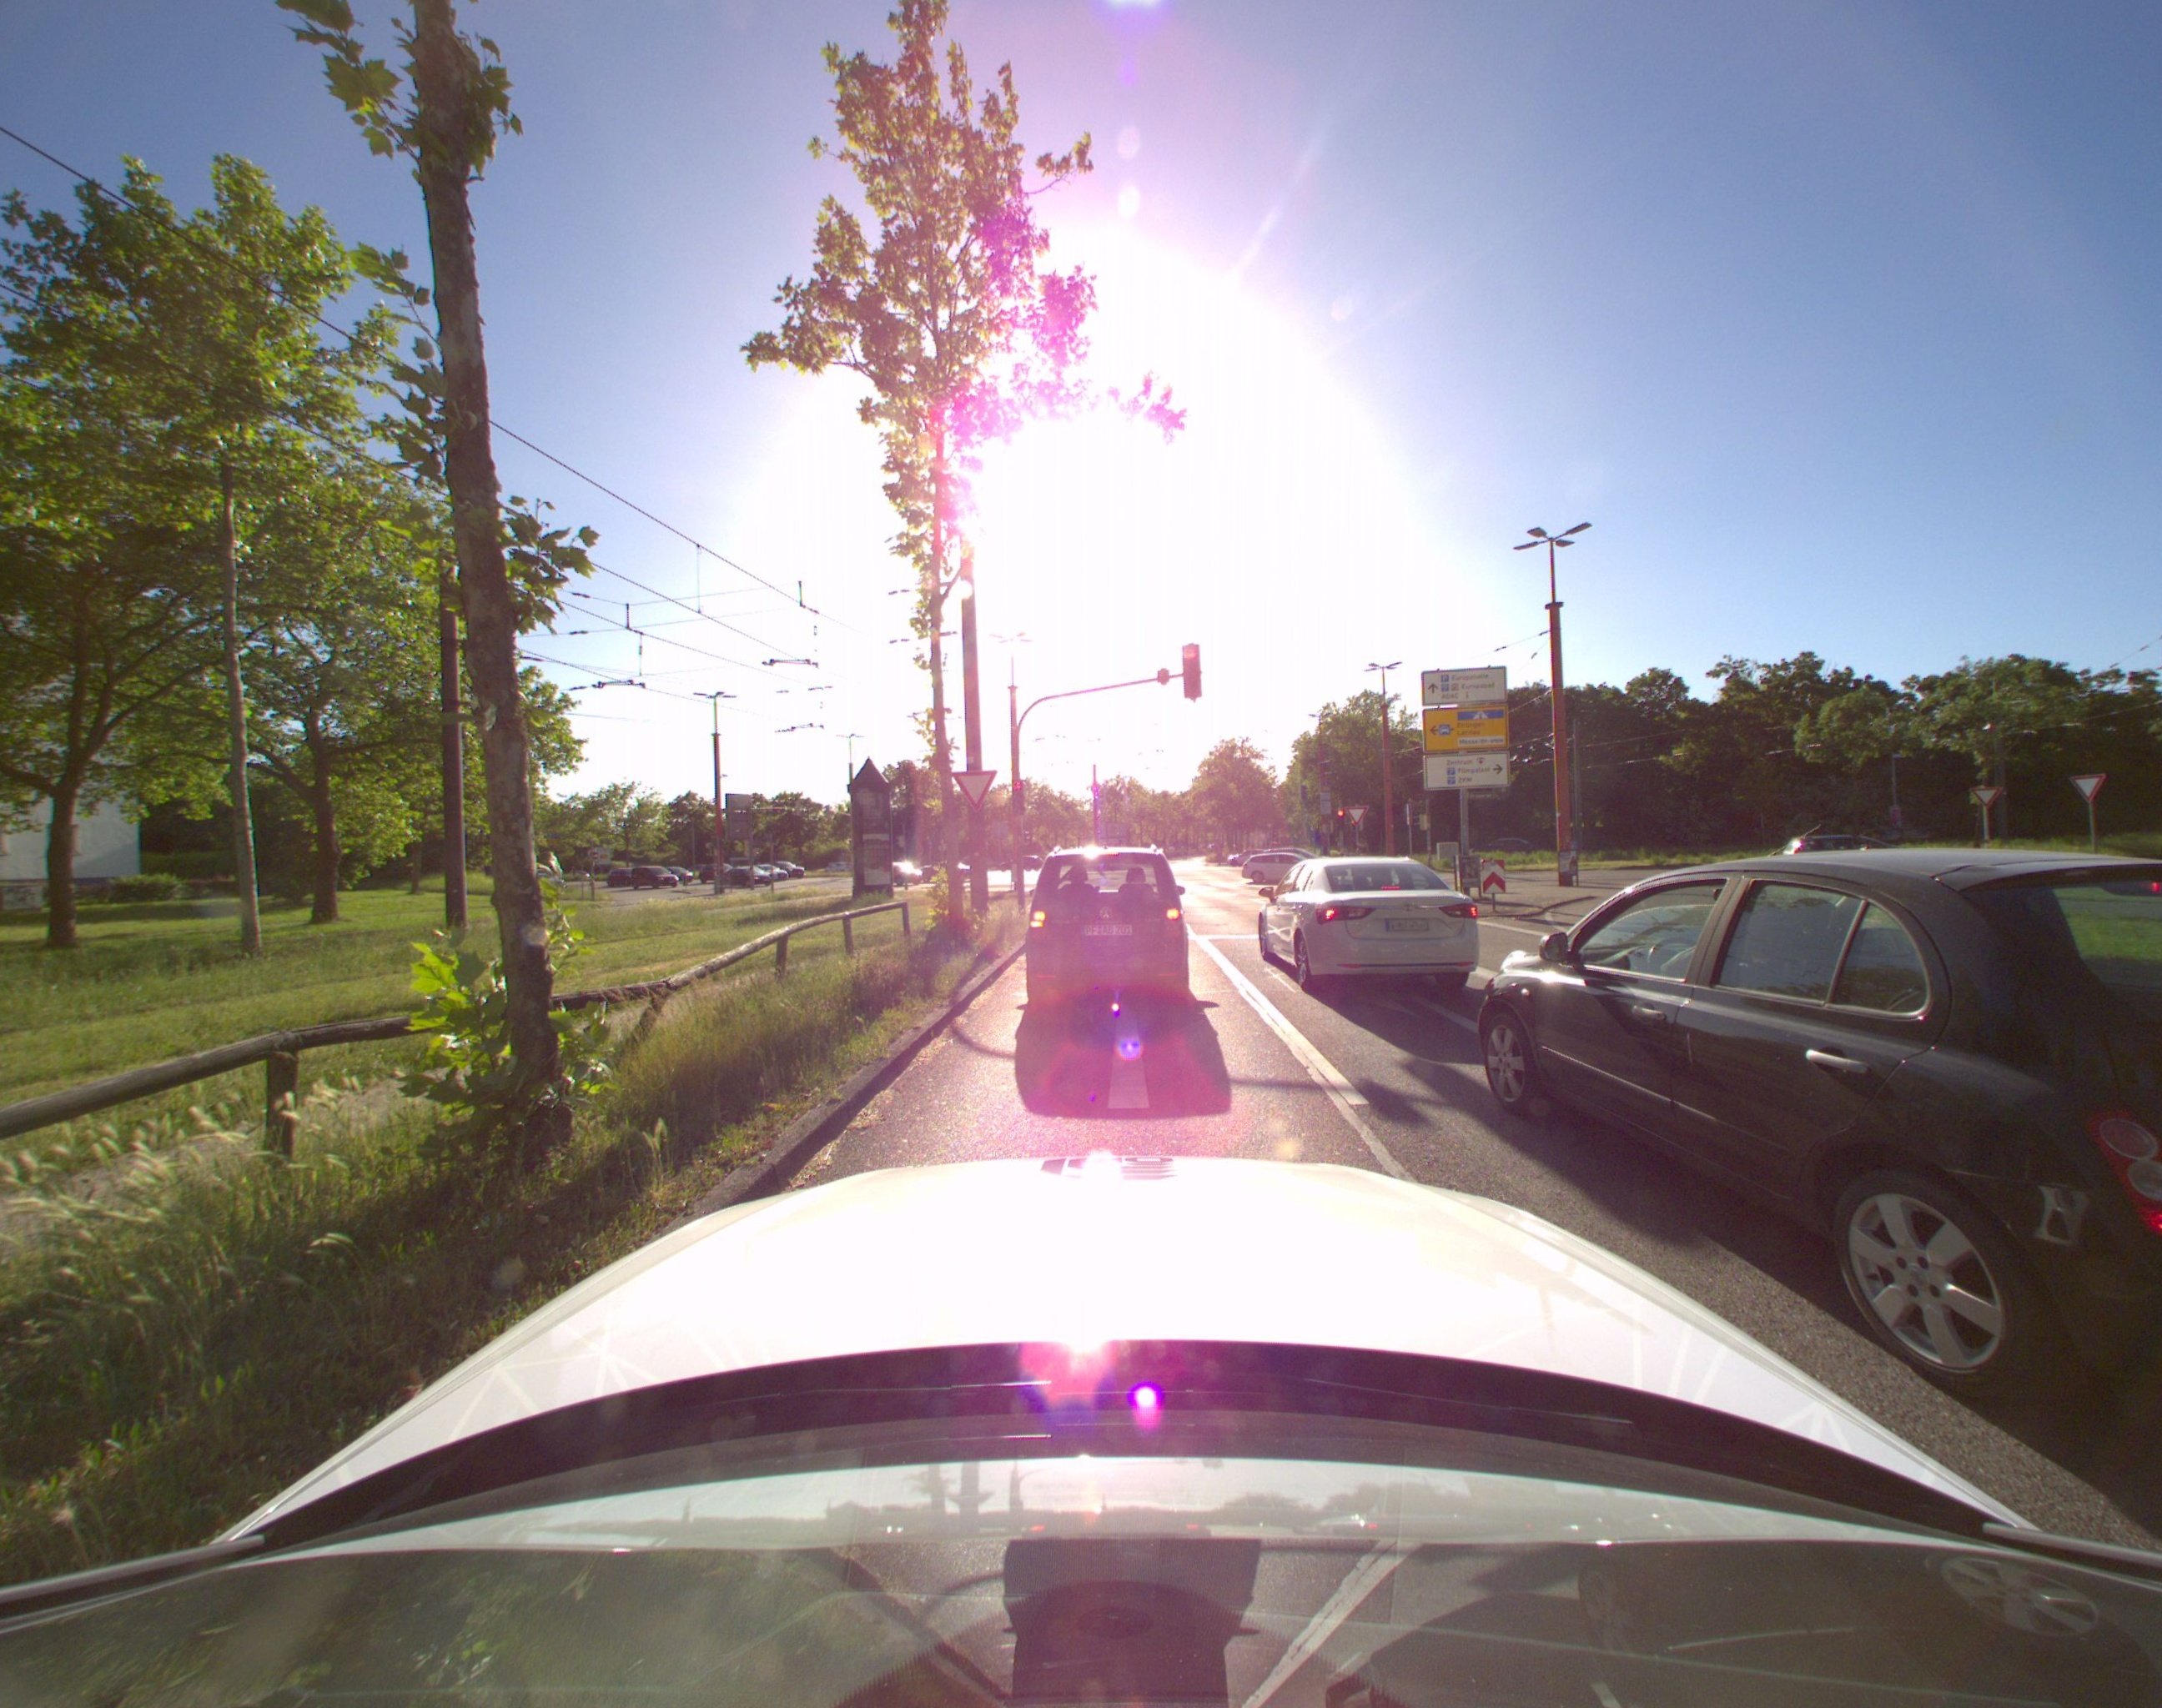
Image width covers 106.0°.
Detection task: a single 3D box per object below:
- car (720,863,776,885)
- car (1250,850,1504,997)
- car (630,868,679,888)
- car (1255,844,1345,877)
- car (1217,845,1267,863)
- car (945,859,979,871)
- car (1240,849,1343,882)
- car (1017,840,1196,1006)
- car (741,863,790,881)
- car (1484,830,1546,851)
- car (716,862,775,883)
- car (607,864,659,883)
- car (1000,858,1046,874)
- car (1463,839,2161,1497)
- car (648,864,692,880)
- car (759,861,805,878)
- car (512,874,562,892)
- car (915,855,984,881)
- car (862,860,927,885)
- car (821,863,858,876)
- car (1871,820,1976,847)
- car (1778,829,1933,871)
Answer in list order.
[{"bbox_3d":[-24.638,1.485,60.215,4.145,1.520,1.667,-1,0,32],"label":"car"},{"bbox_3d":[3.365,0.708,10.191,1.792,1.440,4.329,0,0,3],"label":"car"},{"bbox_3d":[-34.707,1.941,66.213,4.145,1.520,1.667,-1,0,32],"label":"car"},{"bbox_3d":[11.619,0.363,43.340,4.285,1.692,1.667,-1,0,34],"label":"car"},{"bbox_3d":[13.549,-0.004,68.725,3.755,1.510,1.667,-1,0,30],"label":"car"},{"bbox_3d":[-14.711,1.346,100.645,3.949,1.457,1.636,-1,0,-43],"label":"car"},{"bbox_3d":[10.338,0.560,40.055,4.578,1.520,1.667,-1,0,29],"label":"car"},{"bbox_3d":[0.358,0.689,10.087,1.731,1.602,4.329,0,-1,3],"label":"car"},{"bbox_3d":[-26.838,1.523,69.192,4.102,1.415,1.553,-1,0,28],"label":"car"},{"bbox_3d":[31.127,-0.957,58.454,3.758,1.403,1.665,-1,0,22],"label":"car"},{"bbox_3d":[-27.112,1.483,65.803,4.585,1.647,1.767,-1,0,26],"label":"car"},{"bbox_3d":[-40.395,1.741,73.348,4.585,1.647,1.767,-1,0,26],"label":"car"},{"bbox_3d":[-5.589,1.165,78.286,4.098,1.510,1.666,-1,0,24],"label":"car"},{"bbox_3d":[3.171,0.695,3.493,1.570,1.440,3.443,0,-1,2],"label":"car"},{"bbox_3d":[-38.202,1.667,75.711,4.102,1.415,1.553,-1,0,28],"label":"car"},{"bbox_3d":[-26.735,1.381,72.816,4.102,1.415,1.553,-1,0,28],"label":"car"},{"bbox_3d":[-49.731,2.630,74.374,4.787,1.520,1.958,-1,0,32],"label":"car"},{"bbox_3d":[-8.957,0.955,55.292,4.583,1.647,1.767,-1,0,32],"label":"car"},{"bbox_3d":[-12.044,1.164,52.620,4.145,1.520,1.667,-1,0,34],"label":"car"},{"bbox_3d":[-27.036,1.742,91.144,3.877,1.457,1.667,-1,0,28],"label":"car"},{"bbox_3d":[47.565,-1.160,46.076,3.758,1.403,1.665,-1,0,22],"label":"car"},{"bbox_3d":[28.185,-0.126,29.800,3.793,1.441,1.667,-1,0,29],"label":"car"}]
